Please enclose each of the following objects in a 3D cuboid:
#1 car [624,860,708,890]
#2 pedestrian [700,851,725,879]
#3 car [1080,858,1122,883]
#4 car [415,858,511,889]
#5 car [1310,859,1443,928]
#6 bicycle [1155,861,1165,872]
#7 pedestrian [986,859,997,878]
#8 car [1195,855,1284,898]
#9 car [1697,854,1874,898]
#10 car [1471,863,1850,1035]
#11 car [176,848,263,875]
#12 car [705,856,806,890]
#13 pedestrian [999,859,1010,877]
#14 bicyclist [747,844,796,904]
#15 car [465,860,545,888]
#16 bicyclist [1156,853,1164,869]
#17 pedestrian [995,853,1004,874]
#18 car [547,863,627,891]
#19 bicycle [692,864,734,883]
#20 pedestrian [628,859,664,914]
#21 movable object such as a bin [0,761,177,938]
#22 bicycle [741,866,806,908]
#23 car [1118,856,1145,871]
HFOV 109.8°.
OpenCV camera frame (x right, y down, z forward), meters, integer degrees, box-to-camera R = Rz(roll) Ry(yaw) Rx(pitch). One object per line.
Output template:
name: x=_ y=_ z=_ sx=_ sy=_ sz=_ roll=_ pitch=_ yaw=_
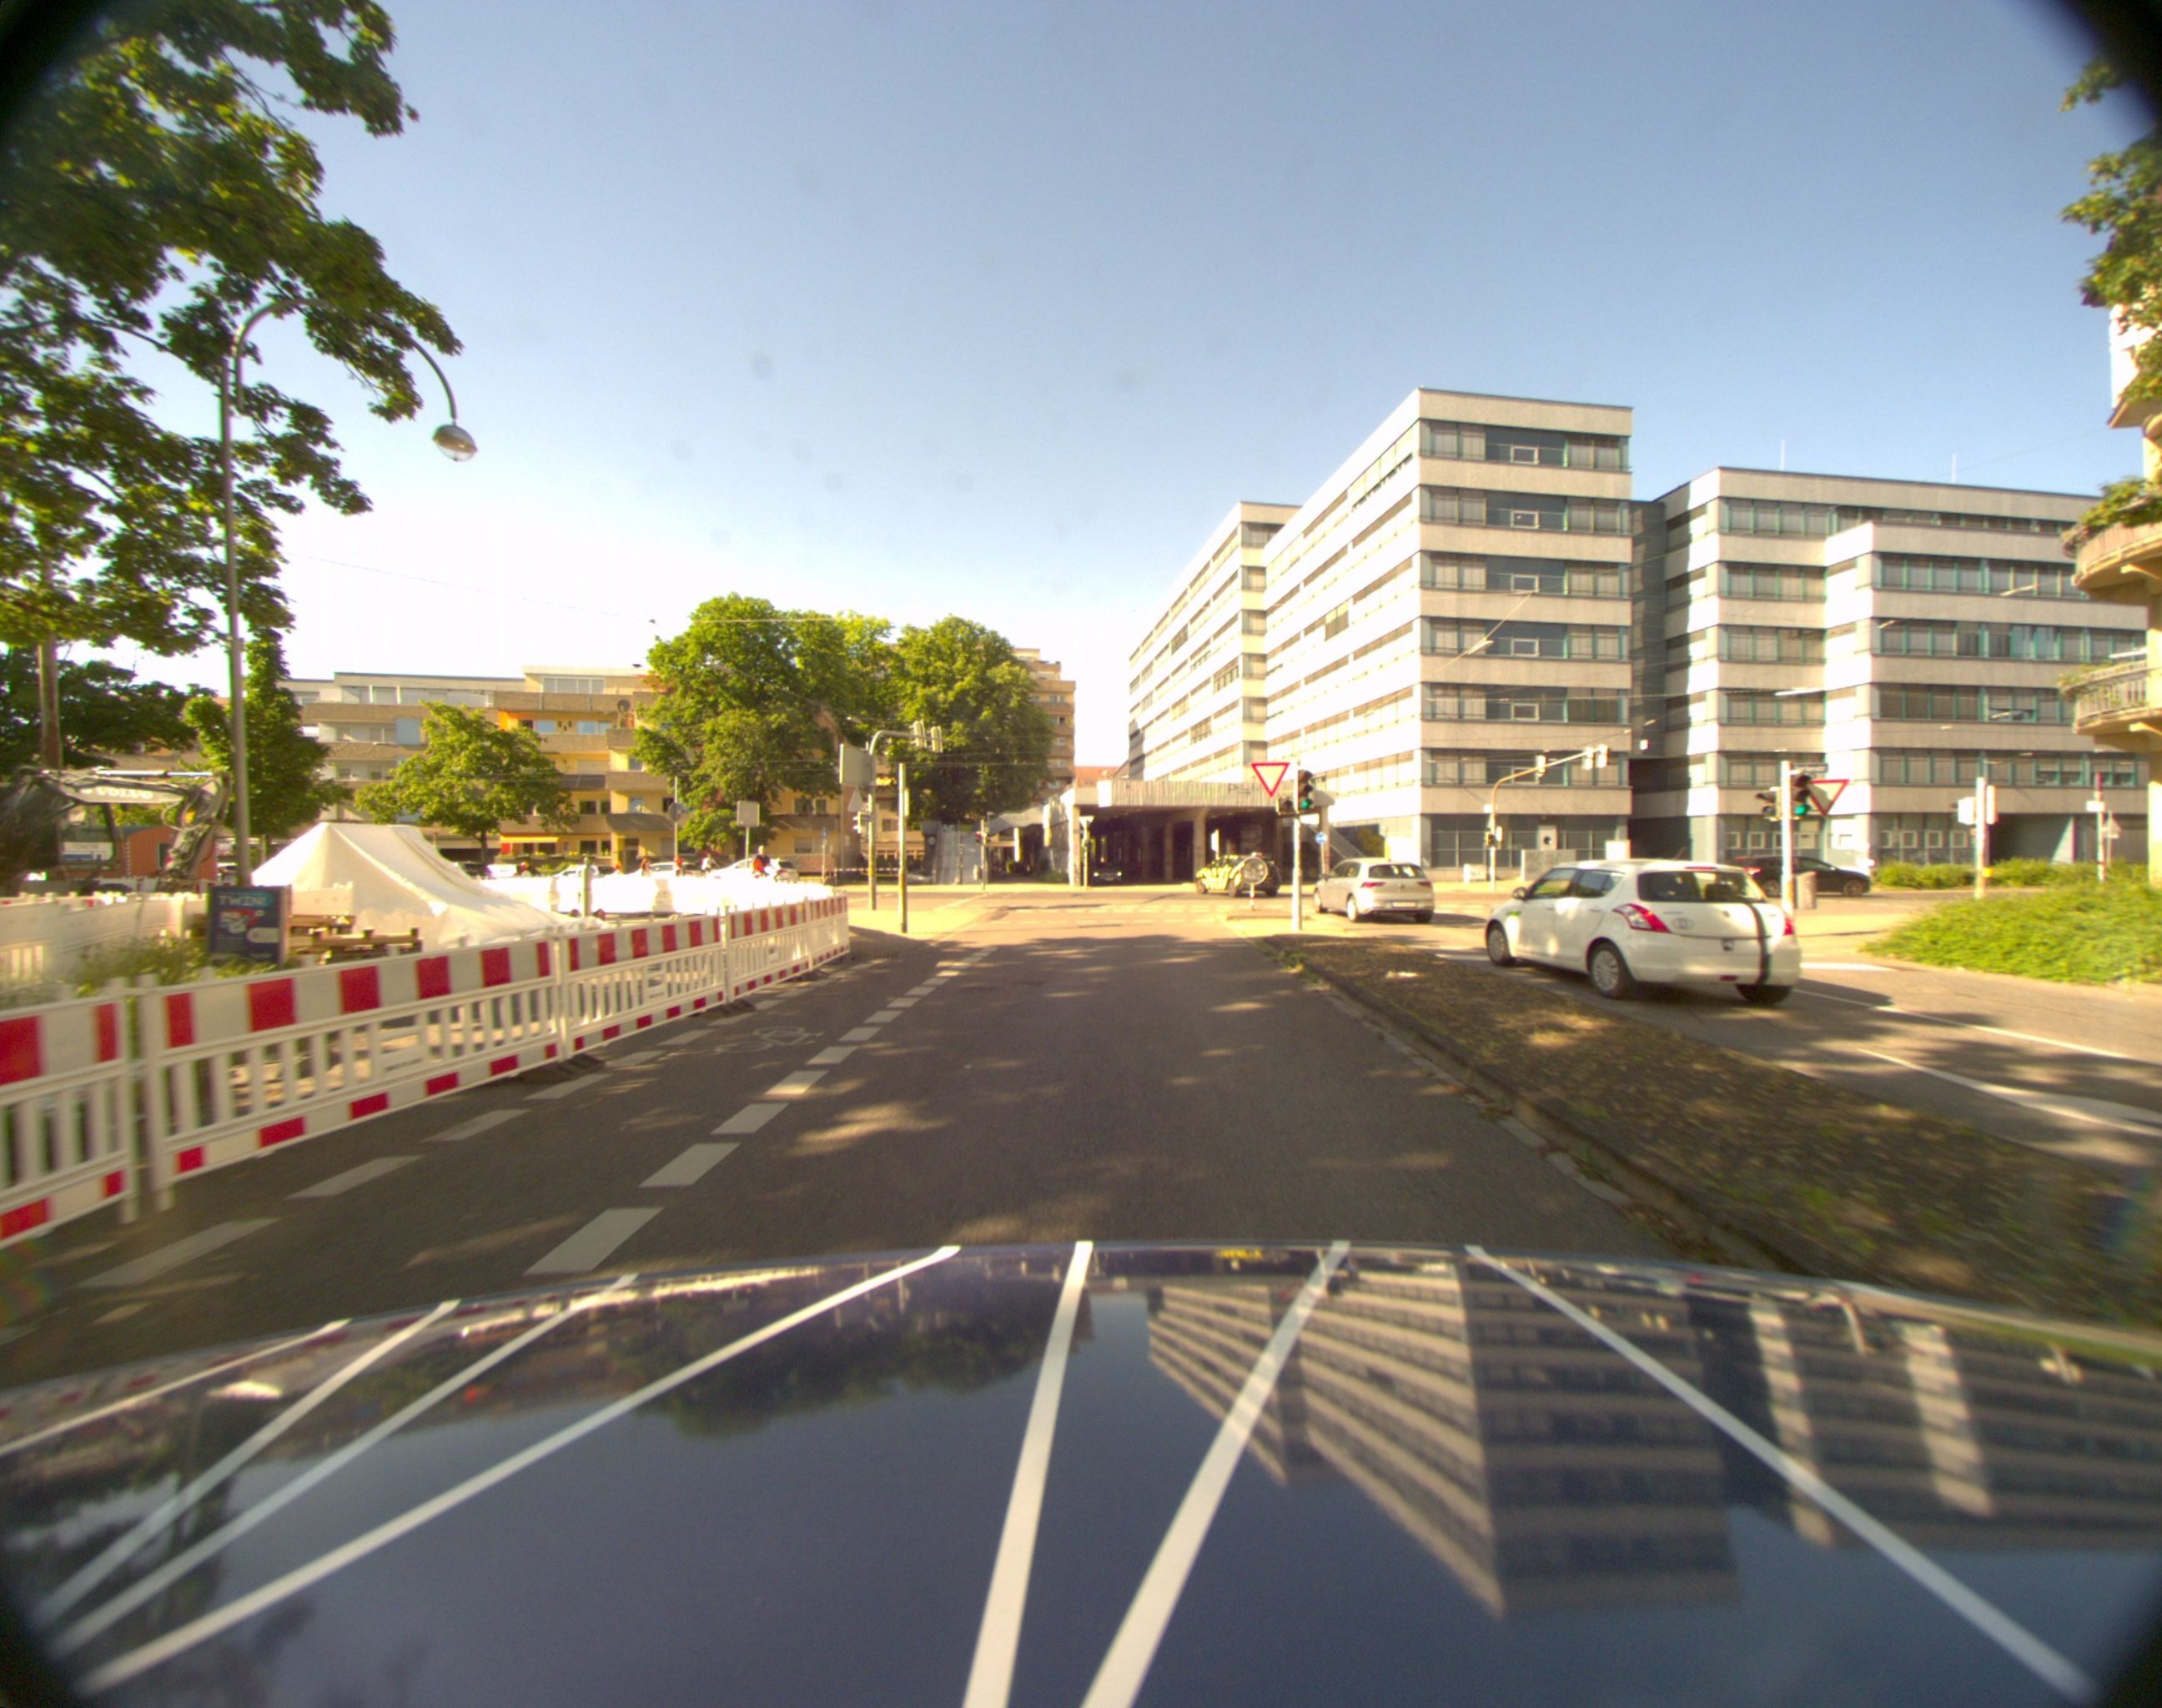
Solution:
car: x=-21.741 y=1.083 z=39.861 sx=3.503 sy=1.522 sz=1.657 roll=0 pitch=-1 yaw=7
pedestrian: x=-20.987 y=0.626 z=43.277 sx=0.932 sy=1.543 sz=0.879 roll=0 pitch=0 yaw=19
car: x=1.284 y=1.033 z=50.027 sx=1.959 sy=1.546 sz=5.037 roll=-1 pitch=0 yaw=-8
car: x=-31.358 y=0.987 z=38.609 sx=3.749 sy=1.508 sz=1.789 roll=-1 pitch=0 yaw=11
car: x=6.899 y=0.861 z=18.182 sx=1.712 sy=1.444 sz=3.851 roll=0 pitch=0 yaw=0
bicycle: x=8.369 y=1.310 z=80.602 sx=0.527 sy=1.084 sz=1.858 roll=0 pitch=0 yaw=-8
pedestrian: x=-6.412 y=1.028 z=54.397 sx=0.740 sy=1.291 sz=0.613 roll=0 pitch=1 yaw=-15
car: x=5.854 y=0.782 z=28.559 sx=1.794 sy=1.505 sz=4.111 roll=0 pitch=0 yaw=-12
car: x=24.496 y=0.745 z=26.562 sx=4.321 sy=1.443 sz=1.807 roll=1 pitch=0 yaw=5
car: x=6.390 y=0.906 z=9.031 sx=1.708 sy=1.504 sz=3.864 roll=2 pitch=0 yaw=4
car: x=-51.062 y=0.463 z=45.059 sx=3.531 sy=1.538 sz=1.812 roll=0 pitch=-1 yaw=10
car: x=-16.362 y=0.908 z=38.301 sx=4.316 sy=1.610 sz=1.937 roll=0 pitch=0 yaw=10
pedestrian: x=-5.484 y=1.018 z=54.671 sx=0.724 sy=1.291 sz=0.589 roll=0 pitch=1 yaw=-15
bicyclist: x=-9.563 y=0.597 z=23.510 sx=1.094 sy=1.820 sz=0.915 roll=0 pitch=0 yaw=11
car: x=-31.230 y=1.084 z=41.238 sx=3.365 sy=1.452 sz=1.485 roll=0 pitch=-1 yaw=6
bicyclist: x=8.379 y=0.760 z=80.464 sx=0.607 sy=1.623 sz=0.909 roll=0 pitch=0 yaw=-8
pedestrian: x=-6.382 y=0.737 z=59.431 sx=0.658 sy=1.681 sz=0.589 roll=0 pitch=1 yaw=-15
car: x=-26.246 y=1.218 z=40.435 sx=3.288 sy=1.397 sz=1.668 roll=0 pitch=-1 yaw=9
bicycle: x=-20.971 y=1.092 z=43.296 sx=2.188 sy=1.055 sz=0.811 roll=0 pitch=0 yaw=19
pedestrian: x=-12.735 y=0.944 z=22.272 sx=0.638 sy=1.591 sz=0.636 roll=0 pitch=1 yaw=19
movable object such as a bin: x=-22.685 y=-0.053 z=15.632 sx=4.706 sy=3.344 sz=2.835 roll=-1 pitch=1 yaw=2
bicycle: x=-9.533 y=1.000 z=23.566 sx=1.781 sy=1.258 sz=0.655 roll=0 pitch=0 yaw=12
car: x=5.181 y=0.963 z=78.788 sx=1.891 sy=1.600 sz=4.144 roll=0 pitch=0 yaw=-10
